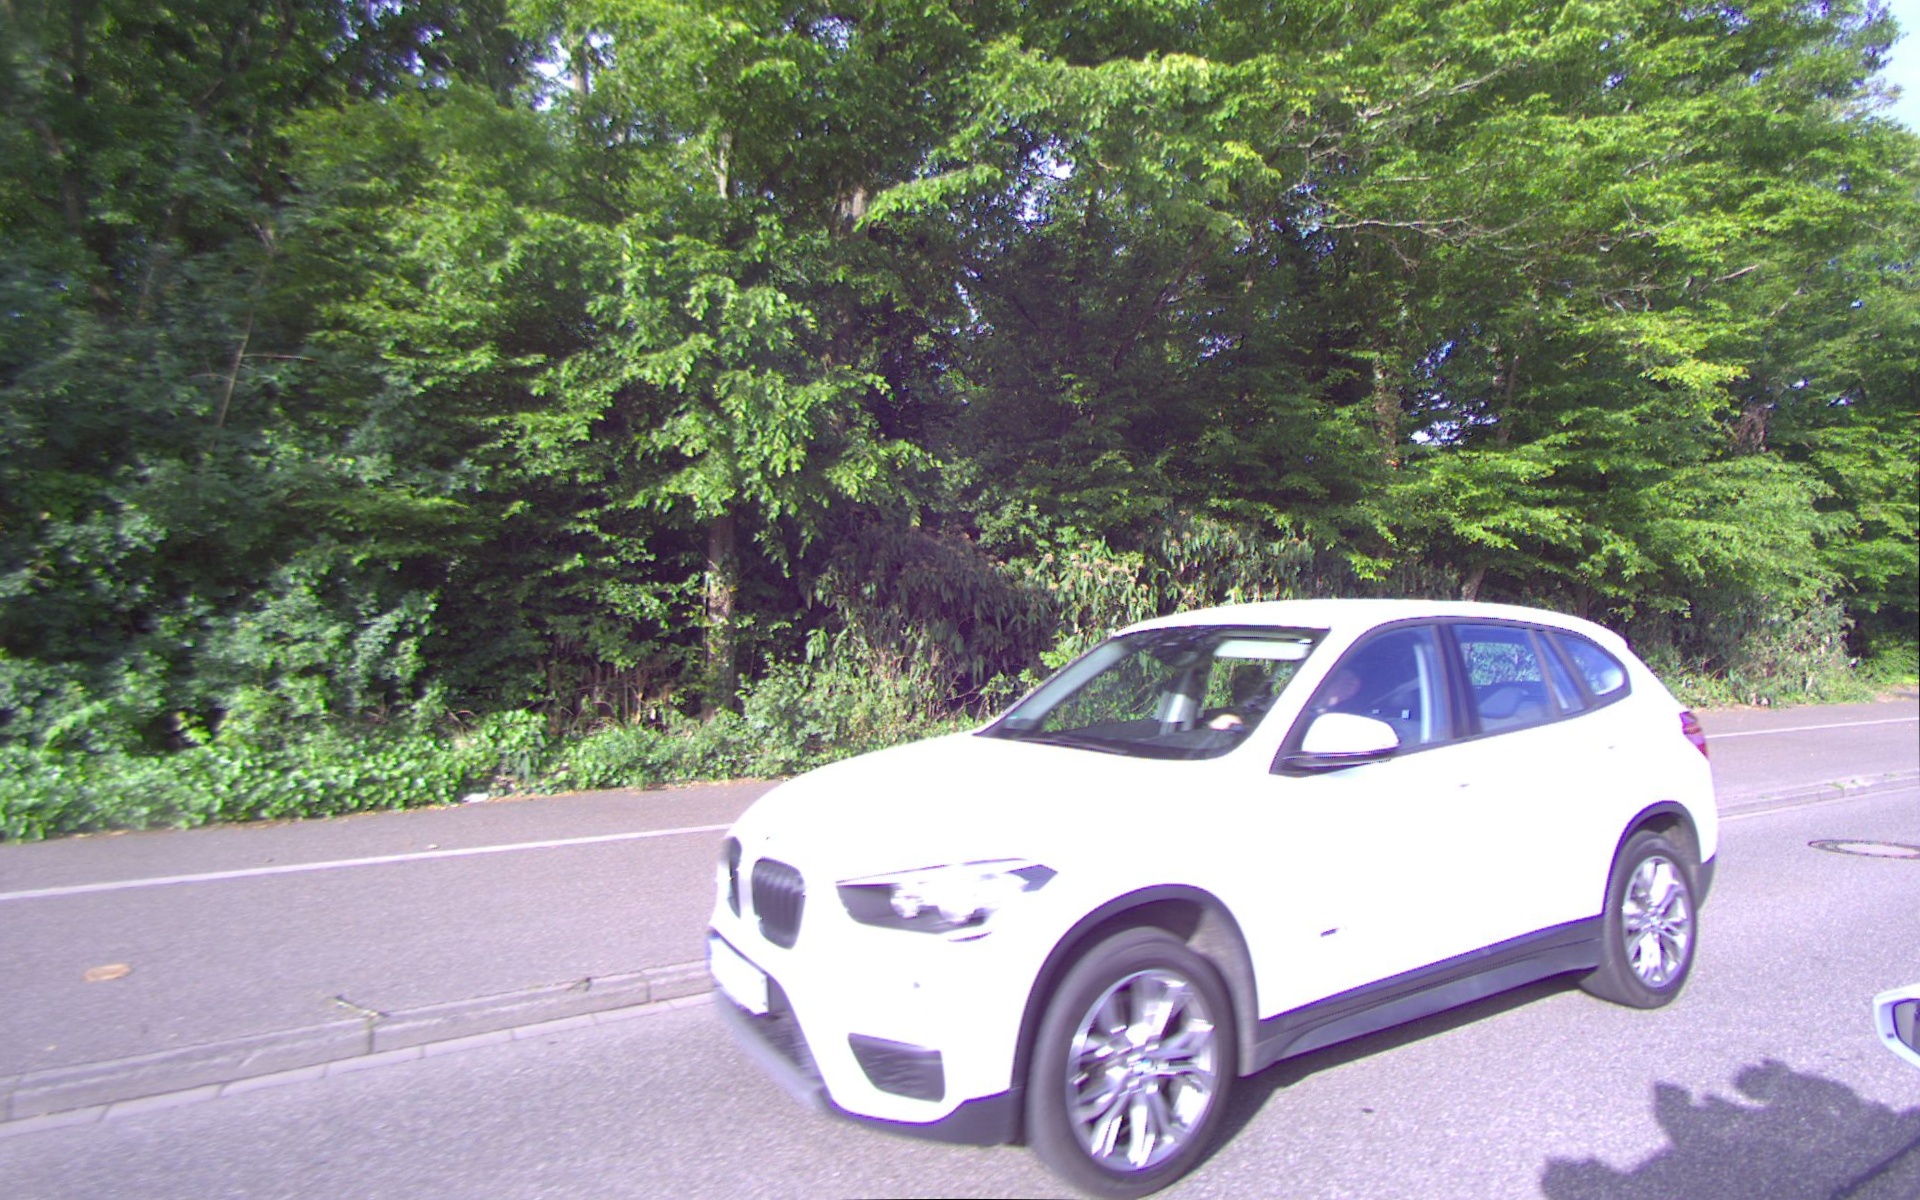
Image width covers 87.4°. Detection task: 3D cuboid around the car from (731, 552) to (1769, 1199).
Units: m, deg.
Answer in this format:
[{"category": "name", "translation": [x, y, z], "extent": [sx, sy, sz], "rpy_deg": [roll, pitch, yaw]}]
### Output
[{"category": "car", "translation": [1.304, 0.780, 4.124], "extent": [4.054, 1.606, 1.794], "rpy_deg": [1, -4, -30]}]
